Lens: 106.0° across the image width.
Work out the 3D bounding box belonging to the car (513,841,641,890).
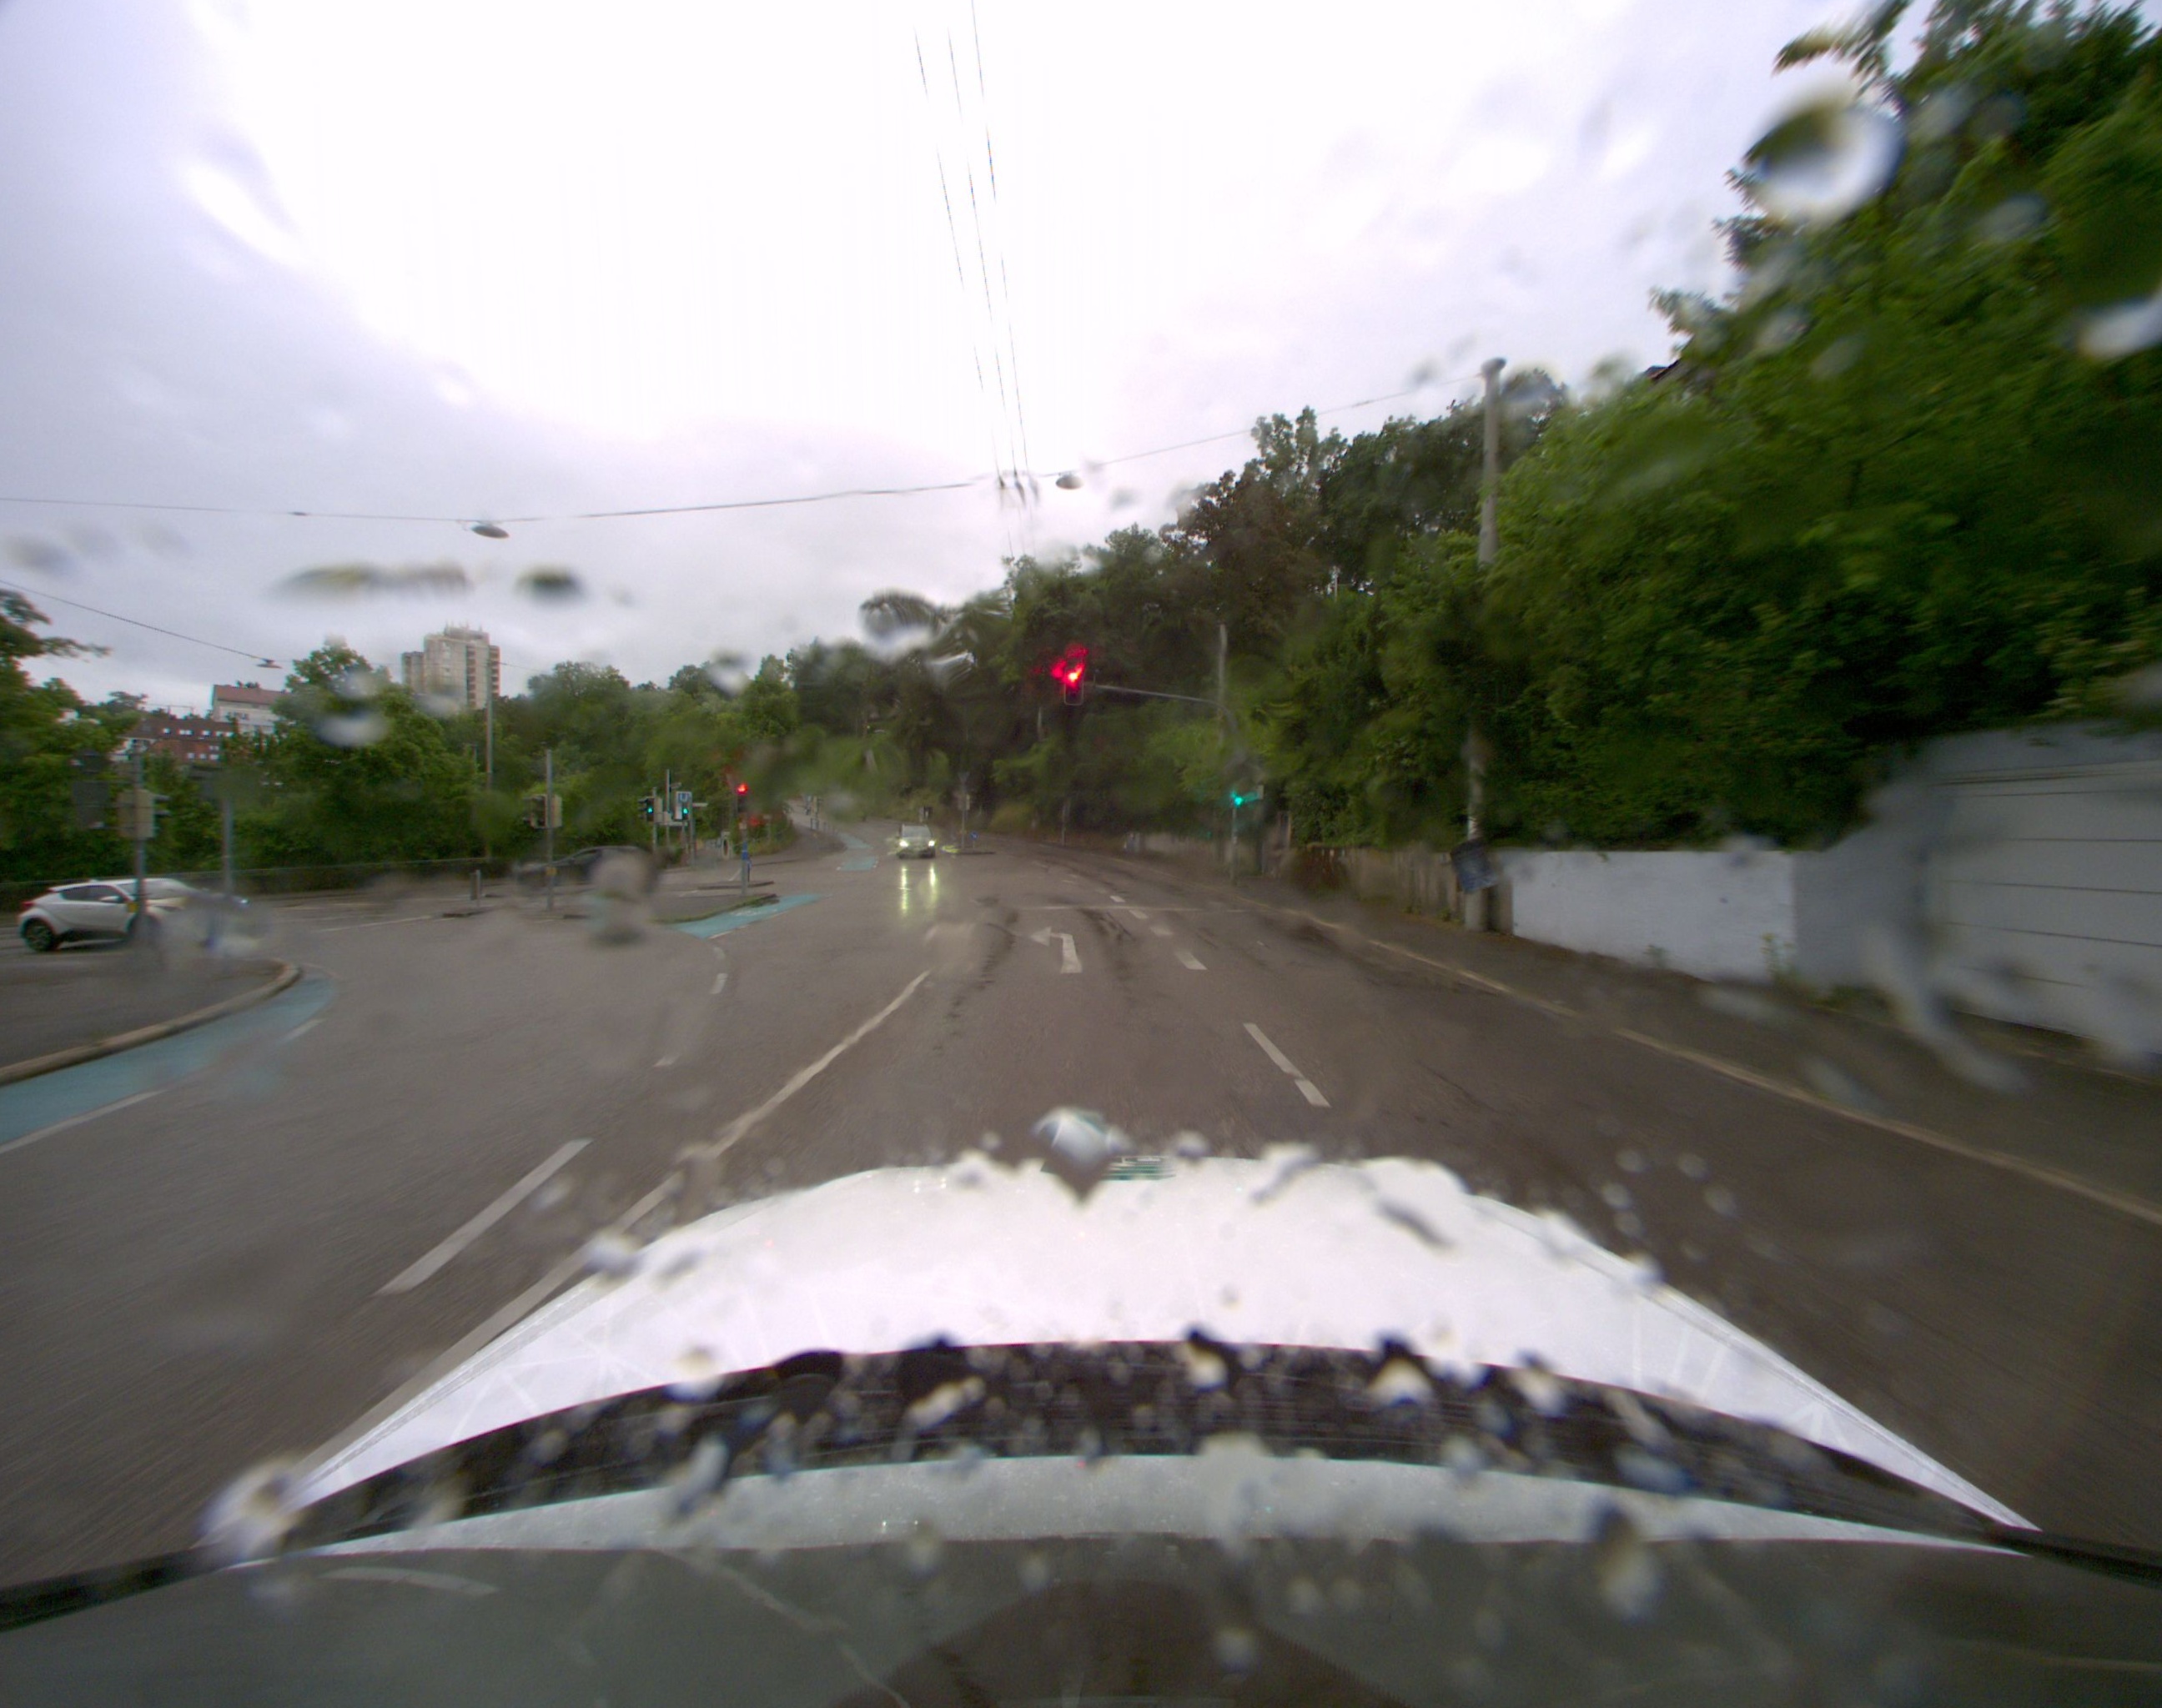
[{"bbox_3d":[-19.372,0.384,31.453,4.015,1.549,1.729,-4,5,-32],"label":"car"}]

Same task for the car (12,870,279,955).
[{"bbox_3d":[-22.111,1.341,19.374,4.130,1.673,2.004,-2,4,5],"label":"car"}]

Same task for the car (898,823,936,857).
[{"bbox_3d":[-8.436,-0.783,41.864,1.742,1.549,3.985,-2,3,-11],"label":"car"}]

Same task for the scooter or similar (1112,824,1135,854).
[{"bbox_3d":[2.213,-0.807,42.722,0.617,1.421,2.151,-2,5,-13],"label":"scooter or similar"}]

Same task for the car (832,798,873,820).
[{"bbox_3d":[-21.446,-4.184,76.432,2.326,1.939,4.279,-4,4,-35],"label":"car"}]
